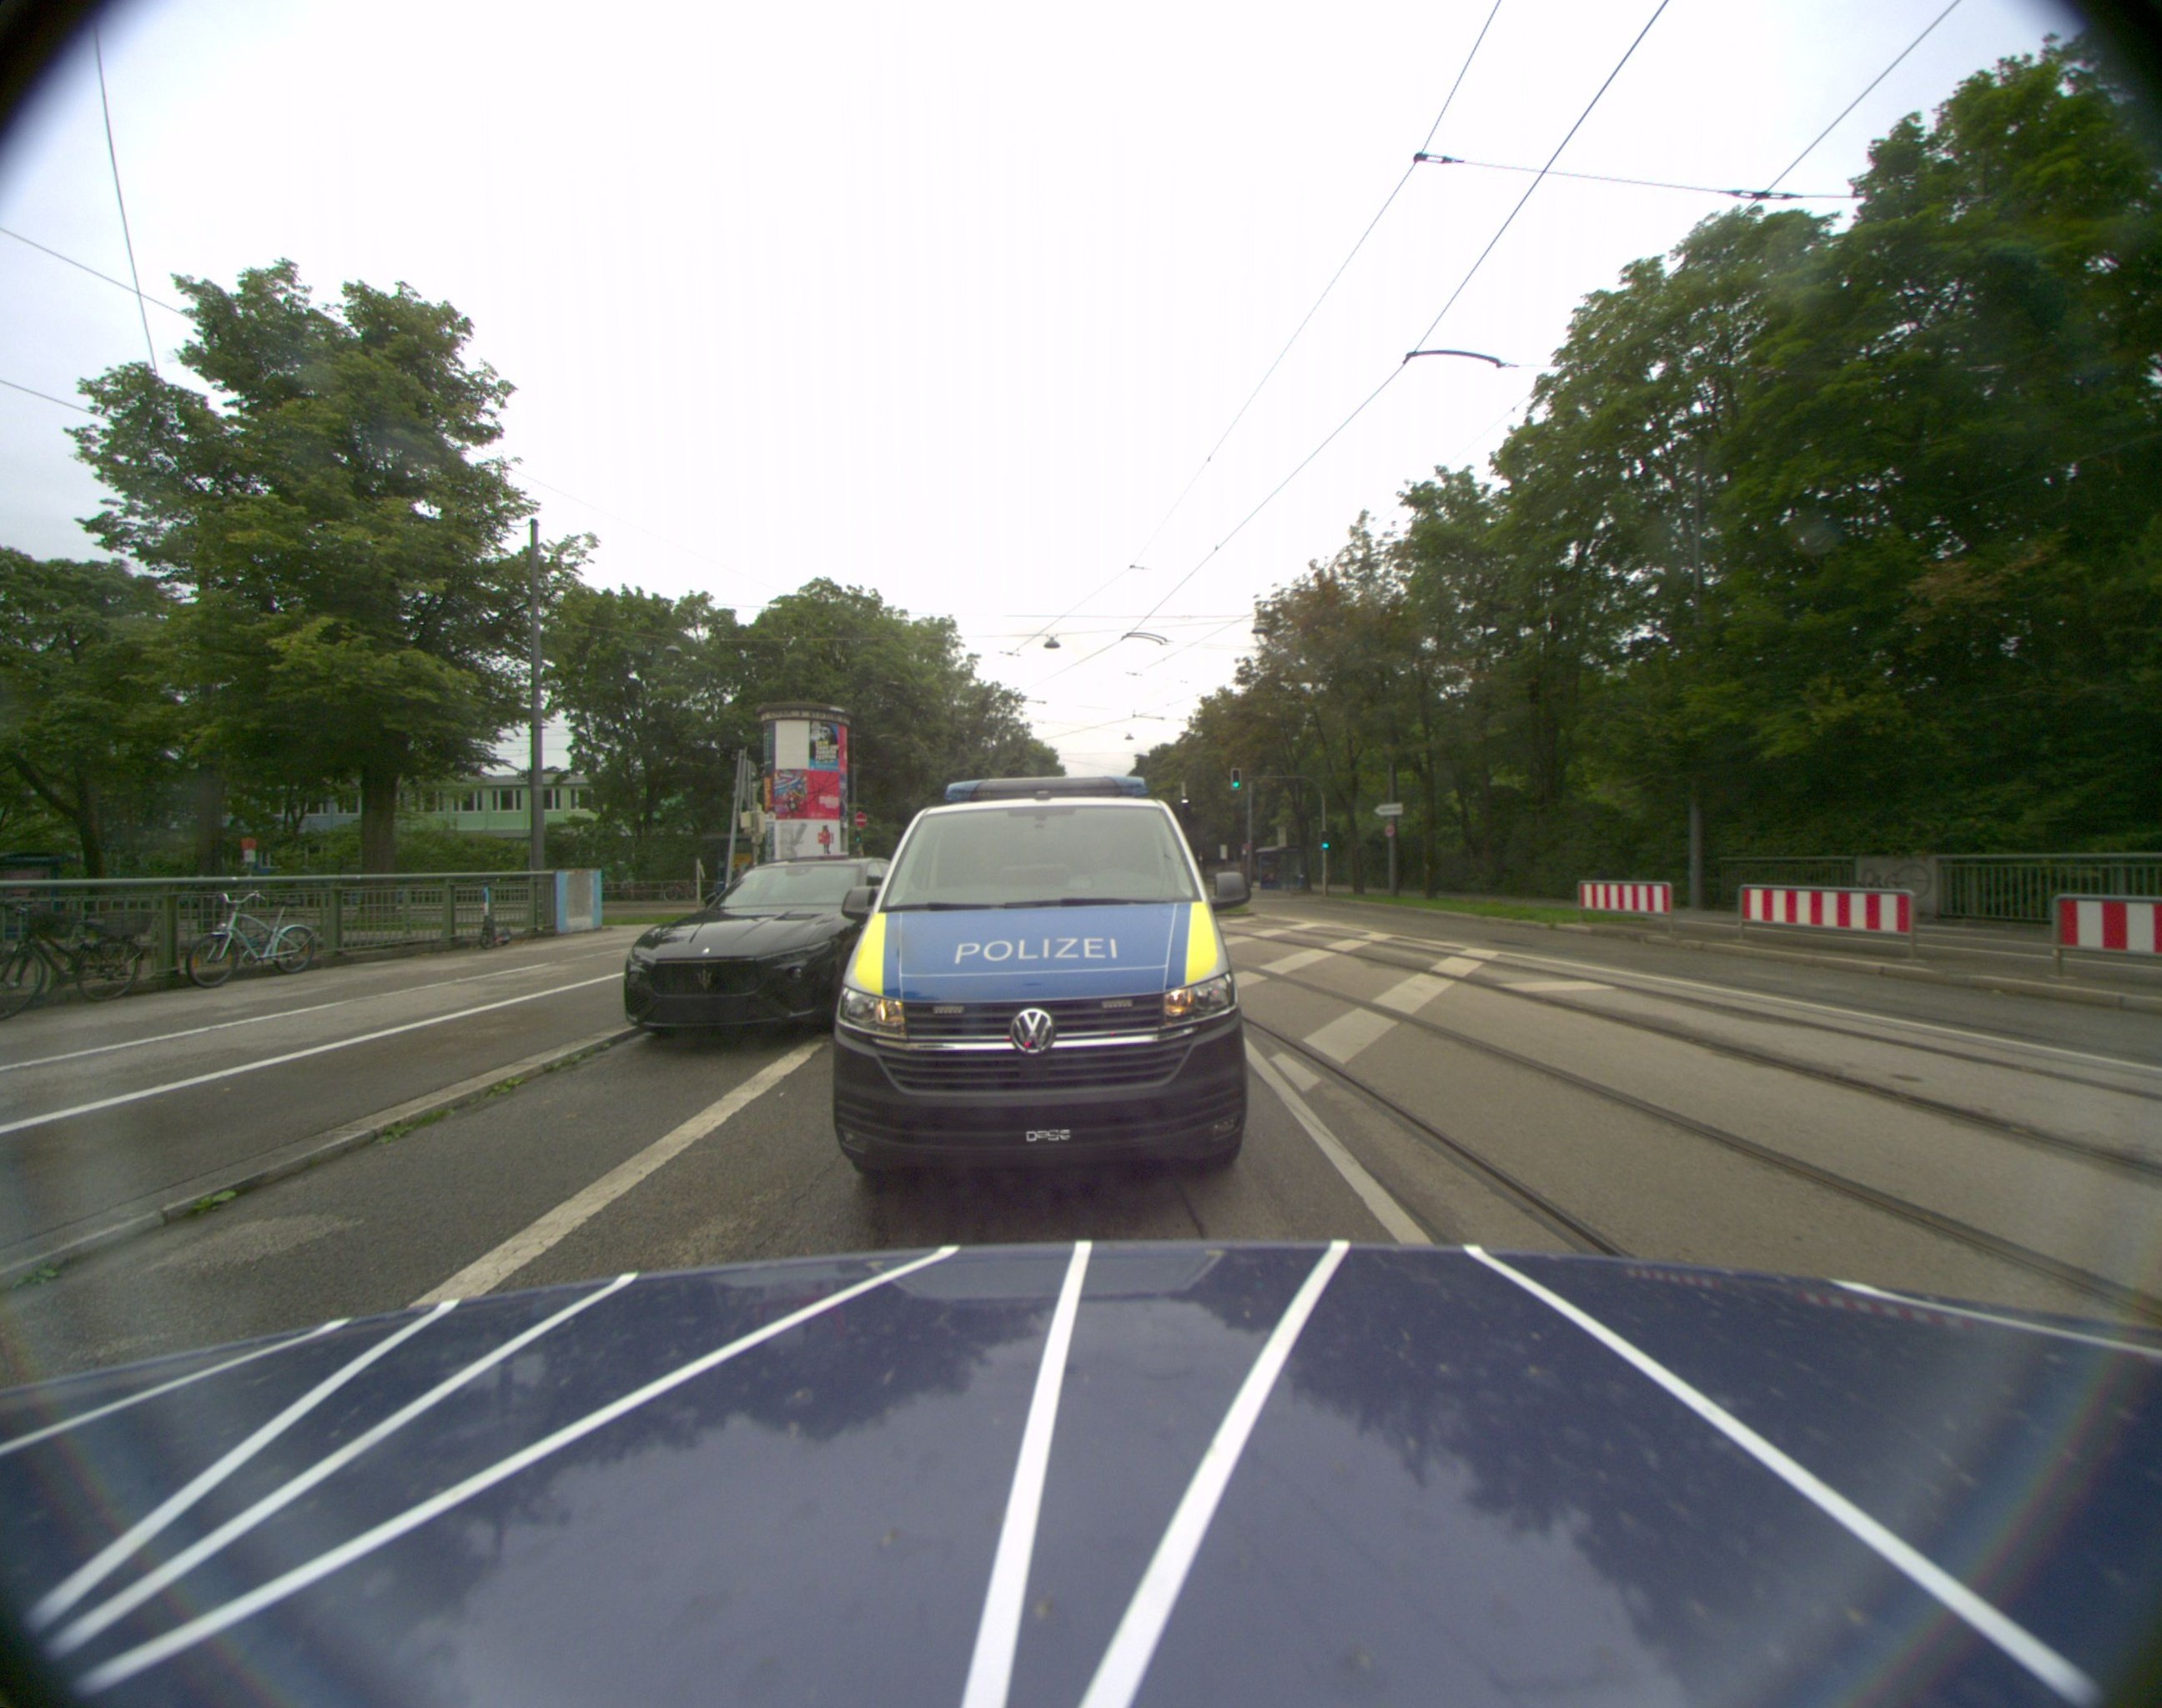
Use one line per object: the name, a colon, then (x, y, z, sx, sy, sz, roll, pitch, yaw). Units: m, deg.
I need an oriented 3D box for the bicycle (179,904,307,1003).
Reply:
bicycle: (-10.750, 1.238, 9.806, 0.265, 1.076, 1.540, -3, 0, -14)

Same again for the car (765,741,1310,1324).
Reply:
car: (-0.191, 0.625, 5.545, 1.903, 2.041, 5.708, -1, 0, -1)

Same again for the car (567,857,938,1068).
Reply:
car: (-3.057, 0.888, 8.371, 1.905, 1.600, 4.665, -3, -1, 1)

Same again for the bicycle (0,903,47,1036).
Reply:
bicycle: (-10.601, 1.142, 7.111, 0.283, 1.274, 1.408, -3, 0, -19)

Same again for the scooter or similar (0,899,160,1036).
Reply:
scooter or similar: (-10.597, 1.149, 8.103, 0.245, 1.255, 1.493, -3, 0, -22)

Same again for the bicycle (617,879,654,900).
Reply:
bicycle: (-20.841, 1.670, 35.556, 1.483, 0.946, 0.373, -1, 1, 3)

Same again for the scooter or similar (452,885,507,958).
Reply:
scooter or similar: (-10.599, 1.167, 13.420, 0.225, 1.205, 1.020, -3, 1, -8)

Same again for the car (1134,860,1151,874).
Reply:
car: (8.591, 1.795, 105.736, 1.888, 1.716, 3.999, -3, 0, -1)

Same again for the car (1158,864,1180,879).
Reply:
car: (9.931, 1.966, 85.714, 1.888, 1.531, 3.999, -3, 0, -1)

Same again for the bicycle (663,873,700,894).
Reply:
bicycle: (-18.632, 1.377, 35.437, 1.483, 0.946, 0.373, -1, 1, 3)

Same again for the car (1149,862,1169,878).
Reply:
car: (9.324, 1.875, 91.073, 1.888, 1.716, 3.999, -3, 0, -1)
